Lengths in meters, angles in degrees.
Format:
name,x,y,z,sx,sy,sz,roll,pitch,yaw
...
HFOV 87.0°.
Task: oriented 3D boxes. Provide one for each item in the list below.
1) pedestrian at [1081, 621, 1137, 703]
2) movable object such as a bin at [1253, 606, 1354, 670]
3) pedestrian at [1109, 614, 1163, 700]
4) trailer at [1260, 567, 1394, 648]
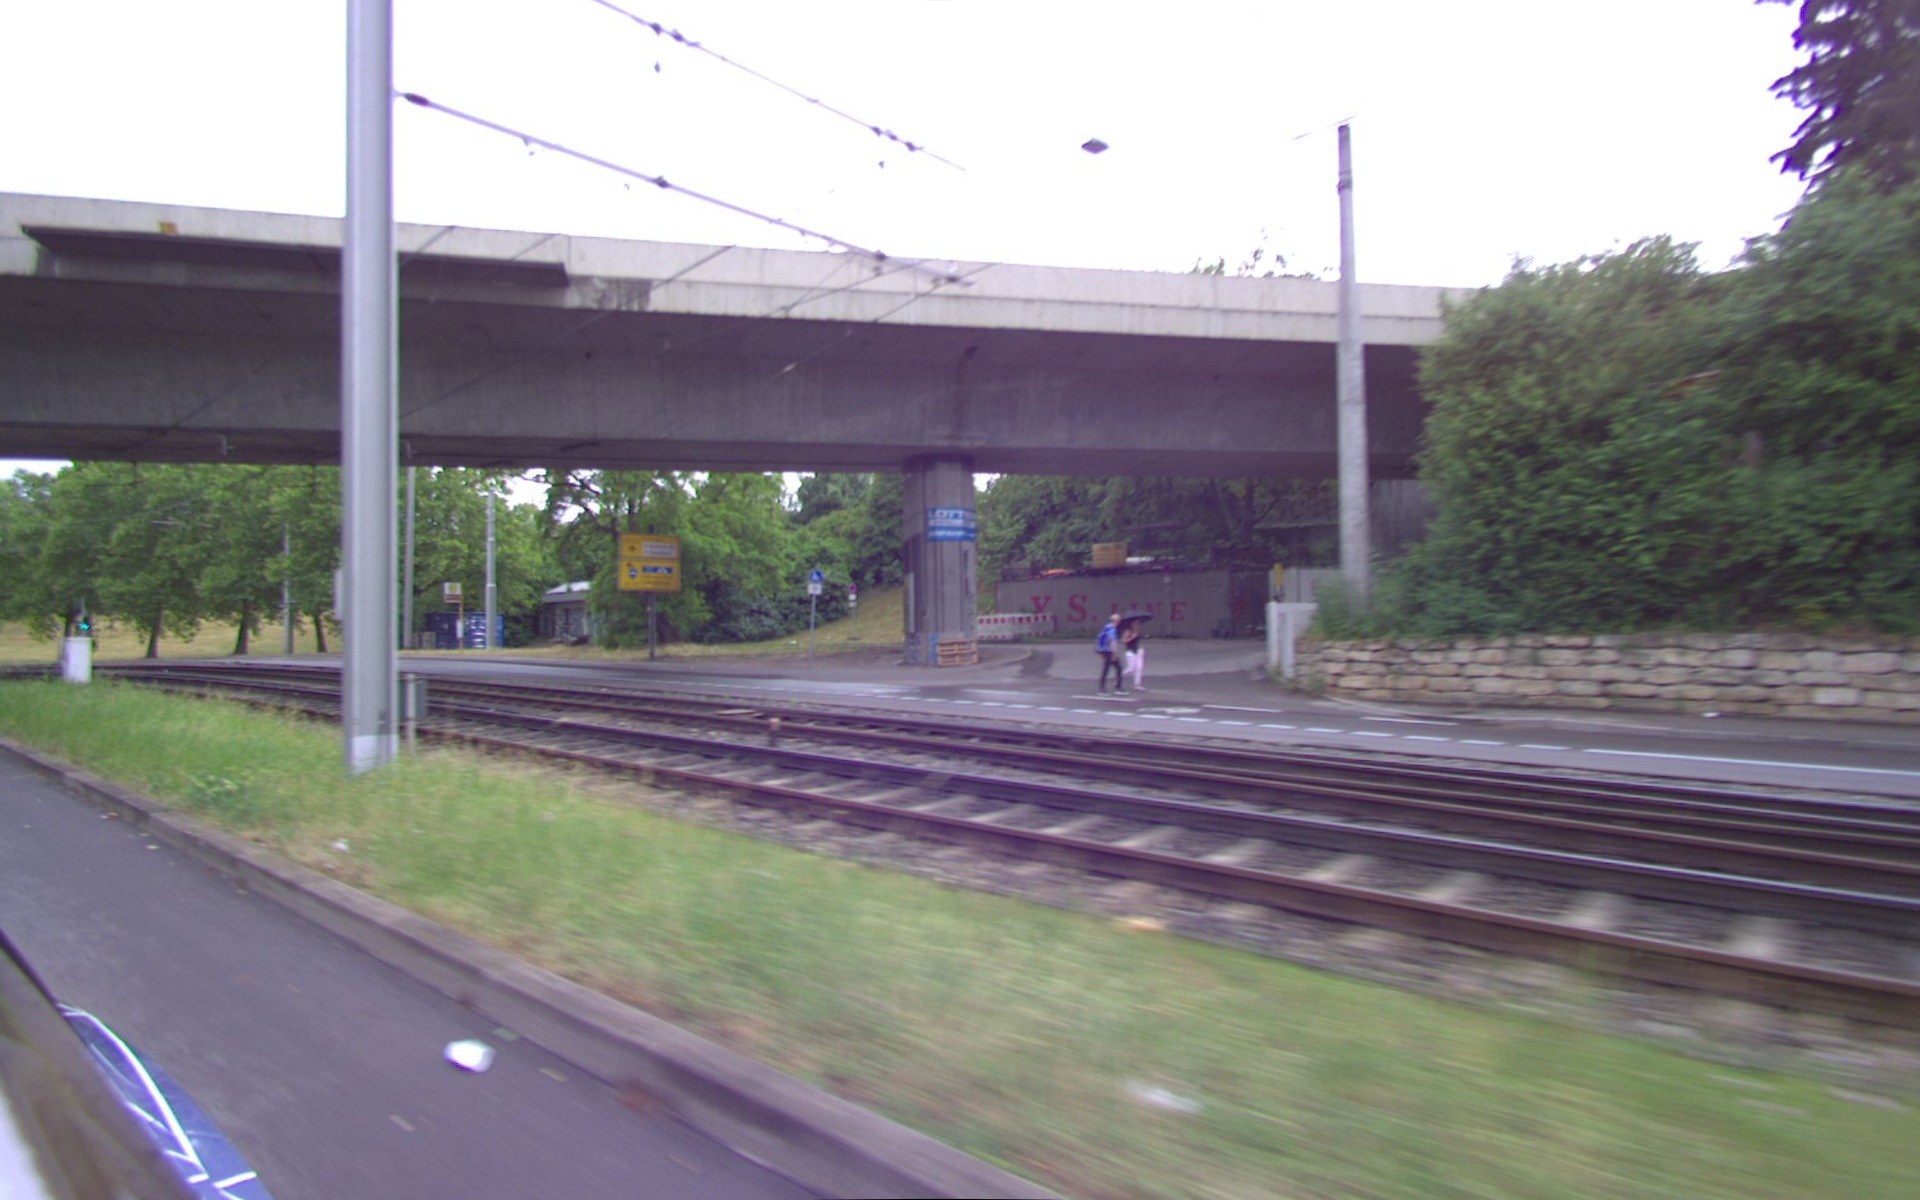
name,x,y,z,sx,sy,sz,roll,pitch,yaw
pedestrian,3.176,1.318,21.583,0.888,1.683,0.685,-4,-2,44
movable object such as a bin,8.674,0.945,25.631,1.772,1.490,1.566,-3,-1,-13
pedestrian,3.895,1.258,22.394,0.866,1.845,0.686,-3,-2,42
trailer,13.211,0.265,36.553,4.053,2.746,2.006,-1,-1,-16
